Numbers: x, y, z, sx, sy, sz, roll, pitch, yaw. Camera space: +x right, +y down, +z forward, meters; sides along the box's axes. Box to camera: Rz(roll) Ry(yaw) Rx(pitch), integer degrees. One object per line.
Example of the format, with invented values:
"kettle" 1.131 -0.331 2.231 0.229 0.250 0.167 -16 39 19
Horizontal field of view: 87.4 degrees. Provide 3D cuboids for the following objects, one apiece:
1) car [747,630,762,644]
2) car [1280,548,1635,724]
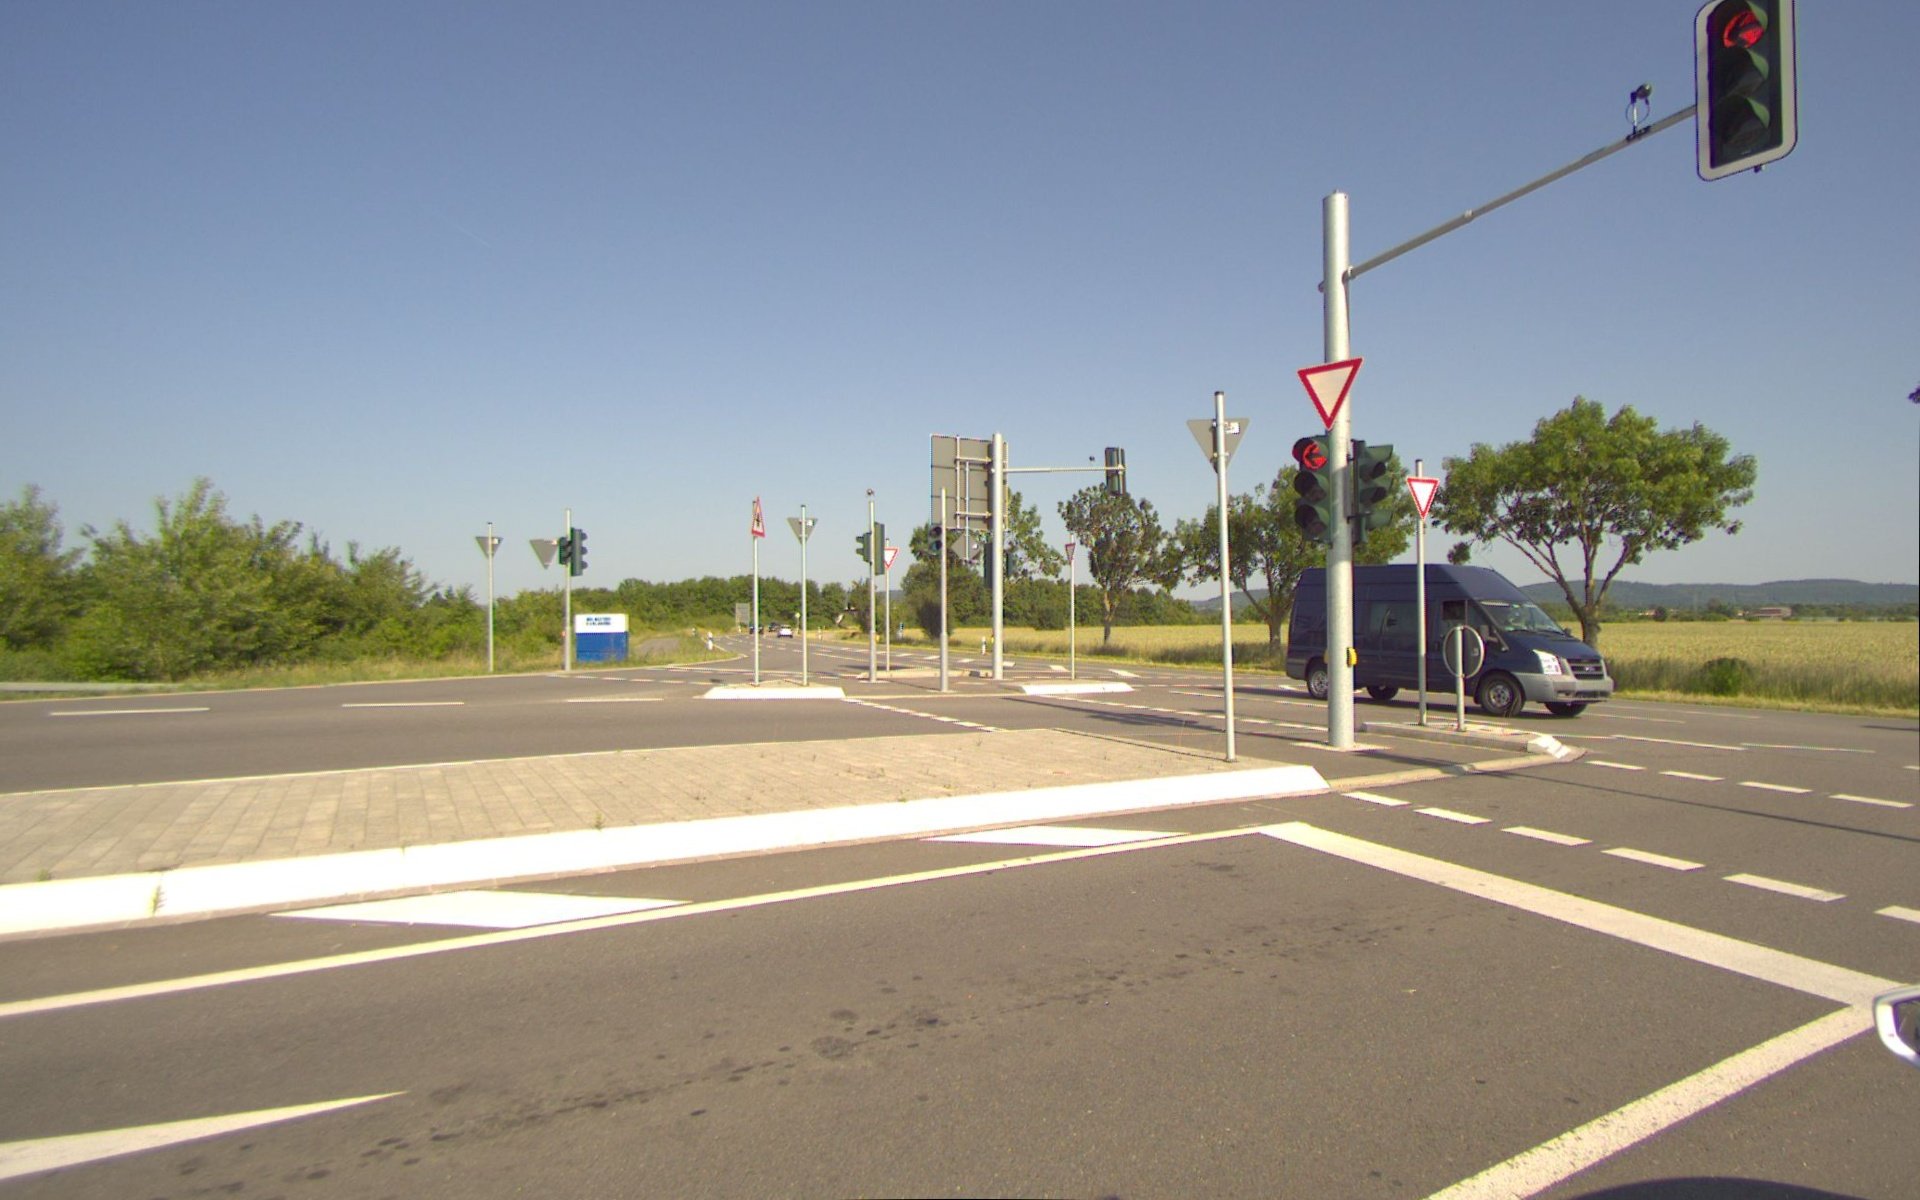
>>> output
"car" -28.693 5.132 140.101 1.965 1.746 4.608 2 0 -12
"car" 8.626 0.603 18.153 2.007 2.657 5.710 1 -1 -27
